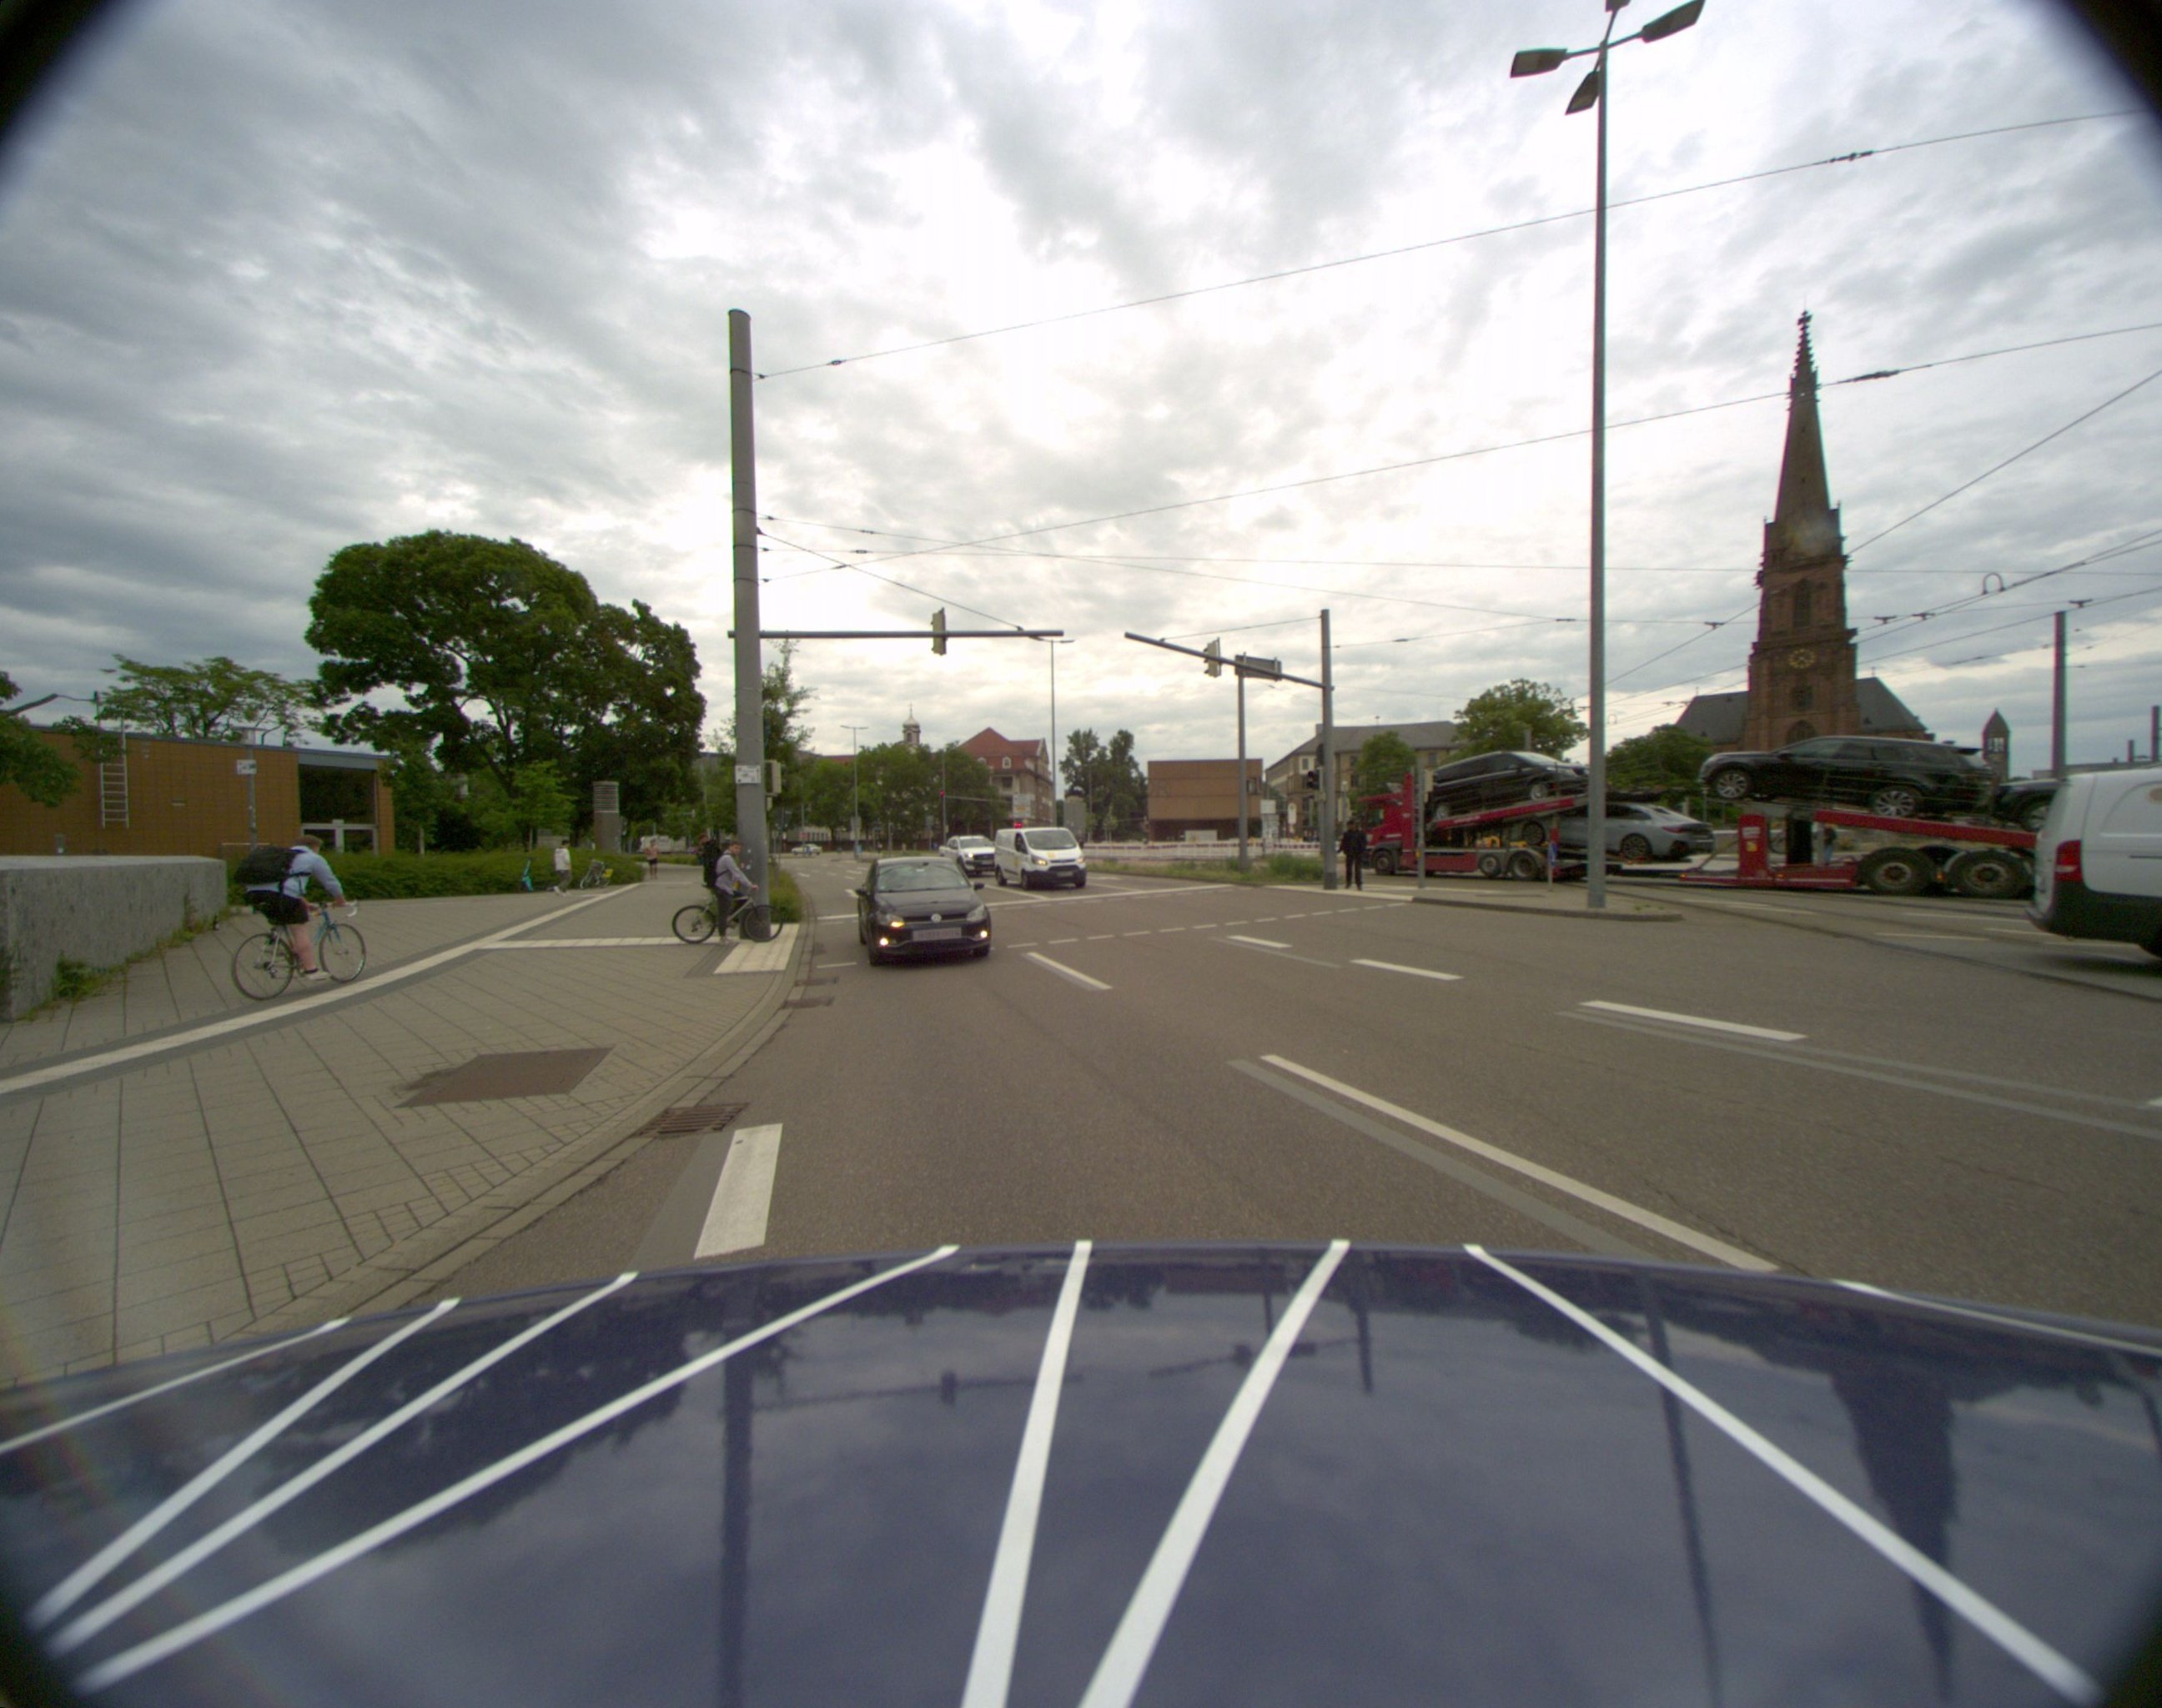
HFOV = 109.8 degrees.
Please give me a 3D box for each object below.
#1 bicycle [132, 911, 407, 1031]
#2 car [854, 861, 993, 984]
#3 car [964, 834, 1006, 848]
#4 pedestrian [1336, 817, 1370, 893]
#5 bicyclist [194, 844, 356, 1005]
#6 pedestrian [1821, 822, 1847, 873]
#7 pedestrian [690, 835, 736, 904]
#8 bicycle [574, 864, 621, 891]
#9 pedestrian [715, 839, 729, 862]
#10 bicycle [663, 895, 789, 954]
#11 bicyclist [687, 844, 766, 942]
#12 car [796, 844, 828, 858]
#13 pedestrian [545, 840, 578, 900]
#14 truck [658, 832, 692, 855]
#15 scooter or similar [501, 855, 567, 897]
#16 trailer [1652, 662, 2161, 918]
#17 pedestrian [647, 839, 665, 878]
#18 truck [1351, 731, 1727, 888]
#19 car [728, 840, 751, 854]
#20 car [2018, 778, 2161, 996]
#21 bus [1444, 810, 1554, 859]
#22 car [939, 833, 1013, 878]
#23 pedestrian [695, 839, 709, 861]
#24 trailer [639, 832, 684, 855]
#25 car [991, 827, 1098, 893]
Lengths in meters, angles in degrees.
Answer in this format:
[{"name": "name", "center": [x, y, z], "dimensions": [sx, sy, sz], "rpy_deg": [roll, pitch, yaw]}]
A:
[{"name": "bicycle", "center": [-8.327, 1.144, 7.935], "dimensions": [0.671, 0.928, 1.861], "rpy_deg": [2, 1, 14]}, {"name": "car", "center": [-2.561, 0.871, 11.636], "dimensions": [1.658, 1.405, 3.993], "rpy_deg": [-2, 1, -17]}, {"name": "car", "center": [-12.191, -1.658, 96.904], "dimensions": [1.907, 1.707, 5.253], "rpy_deg": [0, 2, 44]}, {"name": "pedestrian", "center": [7.103, 0.024, 19.859], "dimensions": [0.779, 1.932, 0.982], "rpy_deg": [-1, 2, 16]}, {"name": "bicyclist", "center": [-8.339, 0.683, 7.896], "dimensions": [0.691, 1.551, 0.927], "rpy_deg": [1, 1, 13]}, {"name": "pedestrian", "center": [24.359, -0.210, 24.581], "dimensions": [0.426, 1.601, 0.479], "rpy_deg": [-2, 2, -24]}, {"name": "pedestrian", "center": [-10.510, 0.412, 21.727], "dimensions": [0.722, 1.917, 0.876], "rpy_deg": [0, 2, 35]}, {"name": "bicycle", "center": [-17.512, 0.835, 27.569], "dimensions": [0.558, 0.843, 2.072], "rpy_deg": [-1, 1, -6]}, {"name": "pedestrian", "center": [-28.211, -0.239, 59.672], "dimensions": [0.596, 1.790, 0.722], "rpy_deg": [2, 1, 22]}, {"name": "bicycle", "center": [-5.818, 1.135, 12.511], "dimensions": [1.829, 0.835, 0.766], "rpy_deg": [0, 1, -26]}, {"name": "bicyclist", "center": [-5.826, 0.607, 12.517], "dimensions": [1.102, 1.512, 0.758], "rpy_deg": [-2, 2, -25]}, {"name": "car", "center": [-35.906, -0.417, 101.292], "dimensions": [3.989, 1.718, 2.003], "rpy_deg": [-1, 2, 35]}, {"name": "pedestrian", "center": [-16.063, 0.469, 23.500], "dimensions": [0.705, 1.795, 0.836], "rpy_deg": [-3, 2, -41]}, {"name": "truck", "center": [-73.026, -1.904, 136.539], "dimensions": [7.140, 4.002, 2.919], "rpy_deg": [0, 3, 43]}, {"name": "scooter or similar", "center": [-18.406, 0.728, 25.583], "dimensions": [0.693, 1.283, 1.607], "rpy_deg": [0, 3, 37]}, {"name": "trailer", "center": [17.197, -1.096, 14.843], "dimensions": [2.999, 3.951, 9.535], "rpy_deg": [-3, 2, -20]}, {"name": "pedestrian", "center": [-19.801, 0.188, 35.417], "dimensions": [0.632, 1.790, 0.596], "rpy_deg": [1, 1, -25]}, {"name": "truck", "center": [13.580, -1.239, 24.218], "dimensions": [3.018, 3.898, 10.434], "rpy_deg": [-3, 2, -23]}, {"name": "car", "center": [-51.096, -0.991, 113.537], "dimensions": [2.003, 2.002, 3.975], "rpy_deg": [-4, 3, -40]}, {"name": "car", "center": [11.178, 0.238, 5.732], "dimensions": [1.927, 1.872, 5.074], "rpy_deg": [-4, 3, -41]}, {"name": "bus", "center": [30.063, -1.484, 55.410], "dimensions": [2.861, 3.060, 12.023], "rpy_deg": [-2, 2, 8]}, {"name": "car", "center": [-4.784, 0.042, 34.137], "dimensions": [2.093, 1.838, 4.741], "rpy_deg": [-2, 1, -23]}, {"name": "pedestrian", "center": [-31.301, -0.293, 62.762], "dimensions": [0.596, 1.790, 0.722], "rpy_deg": [2, 1, 22]}, {"name": "trailer", "center": [-78.111, -1.854, 141.214], "dimensions": [13.770, 3.991, 2.953], "rpy_deg": [0, 3, 43]}, {"name": "car", "center": [-1.324, 0.146, 25.063], "dimensions": [2.002, 1.931, 4.514], "rpy_deg": [-2, 1, -24]}]
